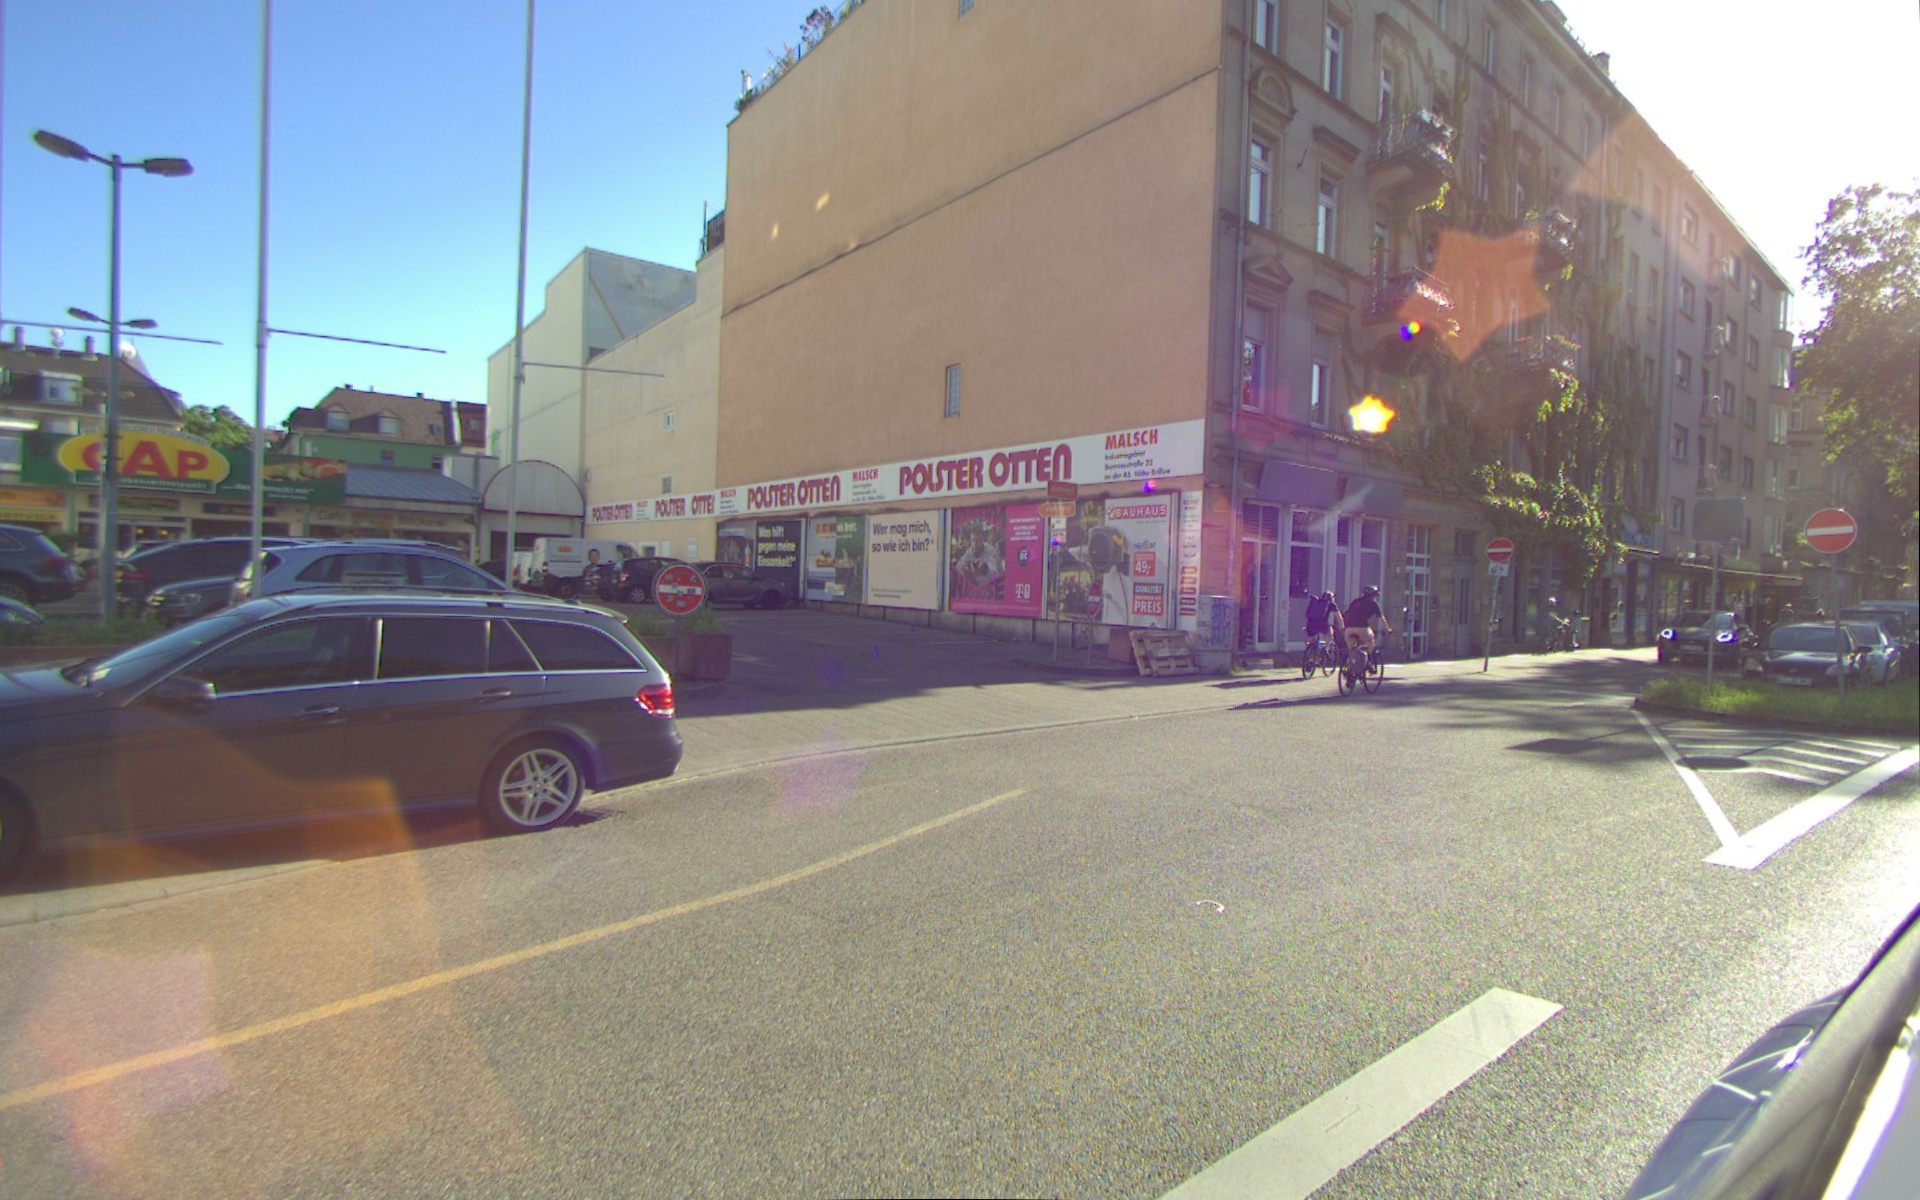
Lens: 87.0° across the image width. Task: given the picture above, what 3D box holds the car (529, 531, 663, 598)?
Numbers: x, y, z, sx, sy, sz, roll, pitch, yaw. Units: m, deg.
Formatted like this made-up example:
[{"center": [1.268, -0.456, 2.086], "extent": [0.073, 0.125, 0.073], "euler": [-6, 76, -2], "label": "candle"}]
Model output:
[{"center": [-14.577, -1.388, 40.614], "extent": [4.785, 2.442, 1.713], "euler": [1, 1, -30], "label": "car"}]

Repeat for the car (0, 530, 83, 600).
[{"center": [-22.444, -0.829, 22.875], "extent": [3.930, 1.538, 1.725], "euler": [1, 1, -41], "label": "car"}]

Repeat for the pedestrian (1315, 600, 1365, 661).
[{"center": [8.331, 0.652, 22.171], "extent": [0.701, 1.276, 0.717], "euler": [1, 3, -40], "label": "pedestrian"}]

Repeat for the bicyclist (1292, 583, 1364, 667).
[{"center": [6.853, 0.457, 18.840], "extent": [1.161, 1.463, 0.678], "euler": [1, 5, -40], "label": "bicyclist"}]

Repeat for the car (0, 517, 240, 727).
[{"center": [-8.416, 0.130, 8.338], "extent": [3.839, 1.665, 1.651], "euler": [0, 3, -45], "label": "car"}]

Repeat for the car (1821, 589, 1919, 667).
[{"center": [23.726, 0.676, 25.956], "extent": [3.929, 1.786, 1.868], "euler": [1, 1, -40], "label": "car"}]

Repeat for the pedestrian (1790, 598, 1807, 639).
[{"center": [38.919, 0.852, 46.959], "extent": [0.507, 1.856, 0.469], "euler": [1, 1, -41], "label": "pedestrian"}]

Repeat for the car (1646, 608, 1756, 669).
[{"center": [21.356, 1.058, 29.096], "extent": [4.306, 1.546, 1.700], "euler": [1, 2, -43], "label": "car"}]

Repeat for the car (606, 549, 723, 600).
[{"center": [-10.220, -0.884, 35.063], "extent": [3.575, 1.690, 1.682], "euler": [0, 2, -35], "label": "car"}]

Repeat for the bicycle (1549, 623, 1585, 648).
[{"center": [18.095, 1.053, 30.177], "extent": [1.486, 0.714, 0.469], "euler": [1, 1, -41], "label": "bicycle"}]

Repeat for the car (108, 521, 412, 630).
[{"center": [-11.221, -0.372, 16.385], "extent": [3.871, 1.563, 1.544], "euler": [1, 2, -43], "label": "car"}]

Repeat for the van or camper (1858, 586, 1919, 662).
[{"center": [27.845, 0.681, 29.493], "extent": [5.006, 2.039, 1.887], "euler": [1, 1, -42], "label": "van or camper"}]

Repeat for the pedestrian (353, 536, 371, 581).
[{"center": [-27.458, -1.889, 46.457], "extent": [0.634, 2.039, 0.563], "euler": [1, 1, -31], "label": "pedestrian"}]

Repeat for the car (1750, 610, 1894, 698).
[{"center": [16.691, 0.963, 19.538], "extent": [3.932, 1.537, 1.642], "euler": [1, -1, -43], "label": "car"}]

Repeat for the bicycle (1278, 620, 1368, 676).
[{"center": [6.792, 0.871, 18.887], "extent": [1.883, 0.931, 0.651], "euler": [1, 4, -40], "label": "bicycle"}]

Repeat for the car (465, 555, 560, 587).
[{"center": [-21.428, -1.388, 48.474], "extent": [3.922, 1.371, 1.760], "euler": [1, 1, -33], "label": "car"}]

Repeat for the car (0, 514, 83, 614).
[{"center": [-17.594, -0.648, 16.971], "extent": [4.305, 1.687, 1.758], "euler": [1, 1, -41], "label": "car"}]

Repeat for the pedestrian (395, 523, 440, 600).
[{"center": [-14.791, -1.039, 27.580], "extent": [0.907, 2.039, 0.818], "euler": [1, 1, -40], "label": "pedestrian"}]

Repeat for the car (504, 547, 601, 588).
[{"center": [-18.955, -1.497, 47.122], "extent": [3.966, 1.759, 1.664], "euler": [1, 1, -30], "label": "car"}]

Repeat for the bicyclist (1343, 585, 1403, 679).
[{"center": [6.766, 0.506, 16.564], "extent": [0.742, 1.480, 0.940], "euler": [0, 0, 35], "label": "bicyclist"}]

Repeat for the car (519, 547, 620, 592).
[{"center": [-17.350, -1.348, 44.977], "extent": [3.966, 1.823, 1.664], "euler": [1, 1, -30], "label": "car"}]

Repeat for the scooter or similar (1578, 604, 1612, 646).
[{"center": [19.292, 0.737, 30.770], "extent": [0.631, 1.188, 1.719], "euler": [2, 1, 25], "label": "scooter or similar"}]

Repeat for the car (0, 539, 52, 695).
[{"center": [-10.738, 0.128, 9.415], "extent": [3.339, 1.504, 1.559], "euler": [1, 1, -45], "label": "car"}]

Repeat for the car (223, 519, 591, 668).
[{"center": [-7.151, -0.092, 13.337], "extent": [3.934, 1.665, 1.746], "euler": [0, 1, -45], "label": "car"}]

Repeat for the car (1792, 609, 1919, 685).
[{"center": [19.940, 0.979, 22.467], "extent": [3.932, 1.537, 1.740], "euler": [1, -1, -43], "label": "car"}]

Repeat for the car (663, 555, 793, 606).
[{"center": [-7.150, -0.602, 31.324], "extent": [3.579, 1.481, 1.680], "euler": [-1, 2, -39], "label": "car"}]

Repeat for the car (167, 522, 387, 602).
[{"center": [-15.131, -0.803, 22.525], "extent": [3.870, 1.601, 1.659], "euler": [1, 2, -42], "label": "car"}]

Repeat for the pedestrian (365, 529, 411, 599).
[{"center": [-15.181, -0.942, 26.854], "extent": [0.907, 1.818, 0.818], "euler": [1, 1, -40], "label": "pedestrian"}]

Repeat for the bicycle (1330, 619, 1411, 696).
[{"center": [6.747, 0.904, 16.590], "extent": [0.754, 1.116, 1.928], "euler": [2, 1, 36], "label": "bicycle"}]

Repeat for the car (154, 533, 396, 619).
[{"center": [-13.754, -0.453, 20.444], "extent": [3.870, 1.563, 1.544], "euler": [1, 2, -42], "label": "car"}]

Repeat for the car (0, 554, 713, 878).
[{"center": [-4.187, 0.560, 6.563], "extent": [4.649, 1.505, 1.838], "euler": [1, 4, -40], "label": "car"}]

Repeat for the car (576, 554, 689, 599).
[{"center": [-11.830, -0.853, 36.624], "extent": [3.575, 1.552, 1.682], "euler": [0, 2, -35], "label": "car"}]
